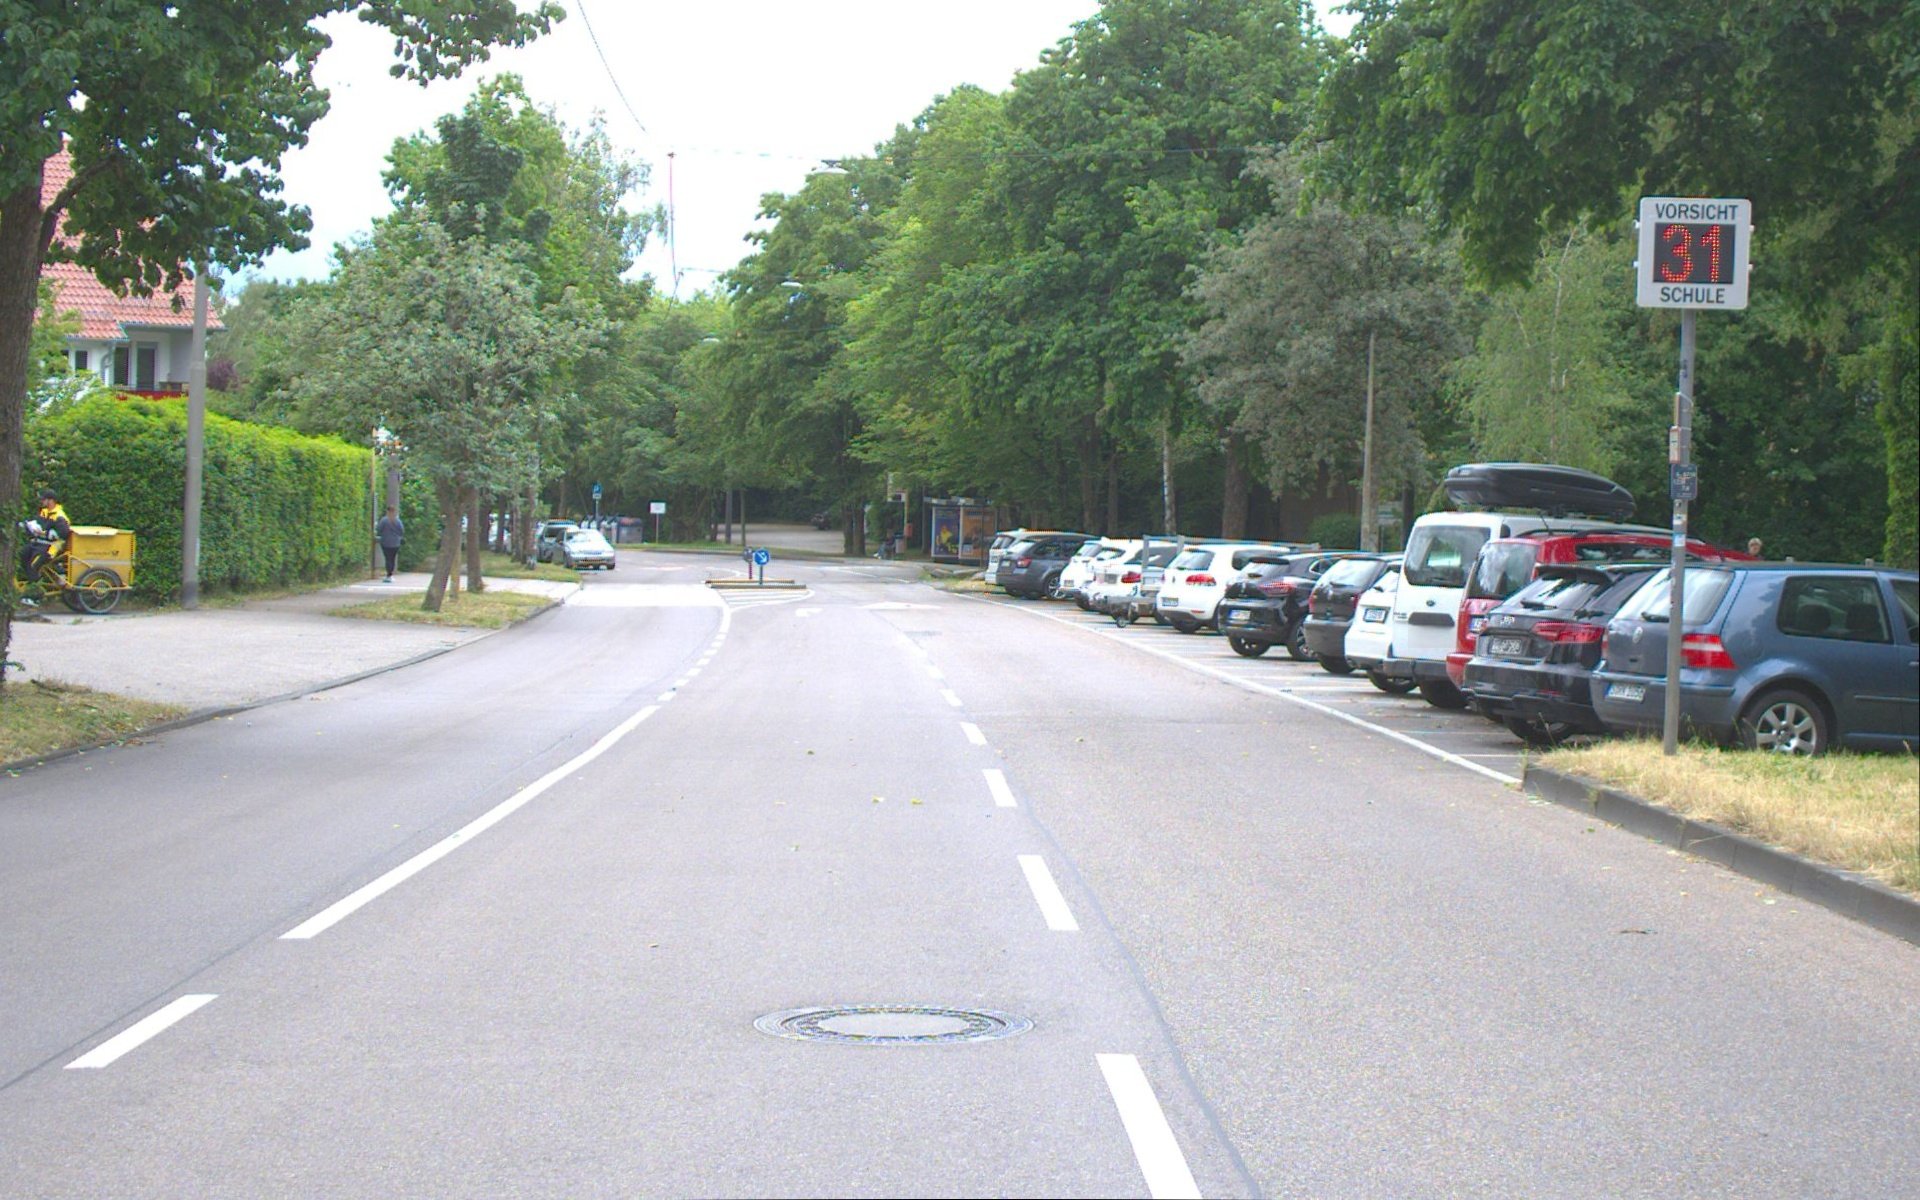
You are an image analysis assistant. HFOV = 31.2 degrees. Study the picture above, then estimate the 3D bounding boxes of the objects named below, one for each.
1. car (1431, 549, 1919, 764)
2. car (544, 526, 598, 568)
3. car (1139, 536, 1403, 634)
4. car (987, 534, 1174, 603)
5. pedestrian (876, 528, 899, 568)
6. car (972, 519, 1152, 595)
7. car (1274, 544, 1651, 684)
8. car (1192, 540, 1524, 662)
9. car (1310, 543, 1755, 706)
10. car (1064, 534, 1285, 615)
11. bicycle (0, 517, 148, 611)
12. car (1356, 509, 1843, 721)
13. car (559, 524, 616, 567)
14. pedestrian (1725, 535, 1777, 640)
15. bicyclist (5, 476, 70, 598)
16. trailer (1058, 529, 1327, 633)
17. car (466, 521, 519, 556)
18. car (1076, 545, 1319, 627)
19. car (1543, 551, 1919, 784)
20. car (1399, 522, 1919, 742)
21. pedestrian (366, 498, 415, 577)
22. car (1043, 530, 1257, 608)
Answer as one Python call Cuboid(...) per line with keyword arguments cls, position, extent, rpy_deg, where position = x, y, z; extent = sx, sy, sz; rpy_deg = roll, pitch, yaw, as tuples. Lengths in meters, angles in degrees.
Cuboid(cls="car", position=(5.751, 0.426, 25.563), extent=(4.026, 1.400, 1.757), rpy_deg=(2, 1, -18))
Cuboid(cls="car", position=(-14.352, -1.961, 126.848), extent=(1.866, 1.466, 4.001), rpy_deg=(1, 1, -8))
Cuboid(cls="car", position=(5.088, -0.253, 56.245), extent=(3.883, 1.444, 1.744), rpy_deg=(2, 1, -22))
Cuboid(cls="car", position=(2.783, -0.732, 79.448), extent=(3.883, 1.424, 1.744), rpy_deg=(2, 1, -20))
Cuboid(cls="pedestrian", position=(-2.887, -2.077, 136.859), extent=(0.741, 1.564, 0.651), rpy_deg=(1, 1, 10))
Cuboid(cls="car", position=(2.444, -1.035, 82.229), extent=(3.883, 1.662, 1.744), rpy_deg=(2, 1, -20))
Cuboid(cls="car", position=(5.850, 0.154, 40.113), extent=(3.883, 1.444, 1.845), rpy_deg=(2, 1, -20))
Cuboid(cls="car", position=(5.218, 0.017, 45.082), extent=(3.883, 1.444, 1.845), rpy_deg=(2, 1, -24))
Cuboid(cls="car", position=(5.793, 0.243, 34.962), extent=(3.965, 1.444, 1.919), rpy_deg=(2, 1, -16))
Cuboid(cls="car", position=(4.167, -0.493, 66.886), extent=(3.883, 1.424, 1.744), rpy_deg=(2, 1, -20))
Cuboid(cls="bicycle", position=(-12.982, -0.519, 48.874), extent=(2.642, 1.262, 0.848), rpy_deg=(1, 2, -24))
Cuboid(cls="car", position=(5.887, 0.140, 31.586), extent=(4.085, 1.748, 1.787), rpy_deg=(2, 1, -27))
Cuboid(cls="car", position=(-13.148, -1.943, 121.285), extent=(1.866, 1.466, 4.001), rpy_deg=(1, 1, -8))
Cuboid(cls="pedestrian", position=(12.191, -0.194, 52.991), extent=(0.649, 1.598, 0.743), rpy_deg=(1, 1, 5))
Cuboid(cls="bicyclist", position=(-13.097, -0.899, 48.784), extent=(0.711, 1.691, 0.848), rpy_deg=(1, 2, -25))
Cuboid(cls="trailer", position=(3.951, -0.325, 58.410), extent=(4.153, 1.568, 1.712), rpy_deg=(2, 1, -20))
Cuboid(cls="car", position=(-20.327, -2.687, 149.458), extent=(1.866, 1.466, 4.001), rpy_deg=(1, 1, -14))
Cuboid(cls="car", position=(4.213, -0.253, 60.994), extent=(3.883, 1.305, 1.744), rpy_deg=(2, 1, -25))
Cuboid(cls="car", position=(6.181, 0.475, 23.274), extent=(3.963, 1.400, 1.757), rpy_deg=(2, 1, -15))
Cuboid(cls="car", position=(5.918, 0.262, 28.624), extent=(3.995, 1.614, 1.885), rpy_deg=(2, 1, -16))
Cuboid(cls="pedestrian", position=(-12.740, -1.399, 76.943), extent=(0.974, 1.724, 0.849), rpy_deg=(1, 1, -5))
Cuboid(cls="car", position=(3.836, -0.625, 69.457), extent=(3.883, 1.424, 1.744), rpy_deg=(2, 1, -20))
